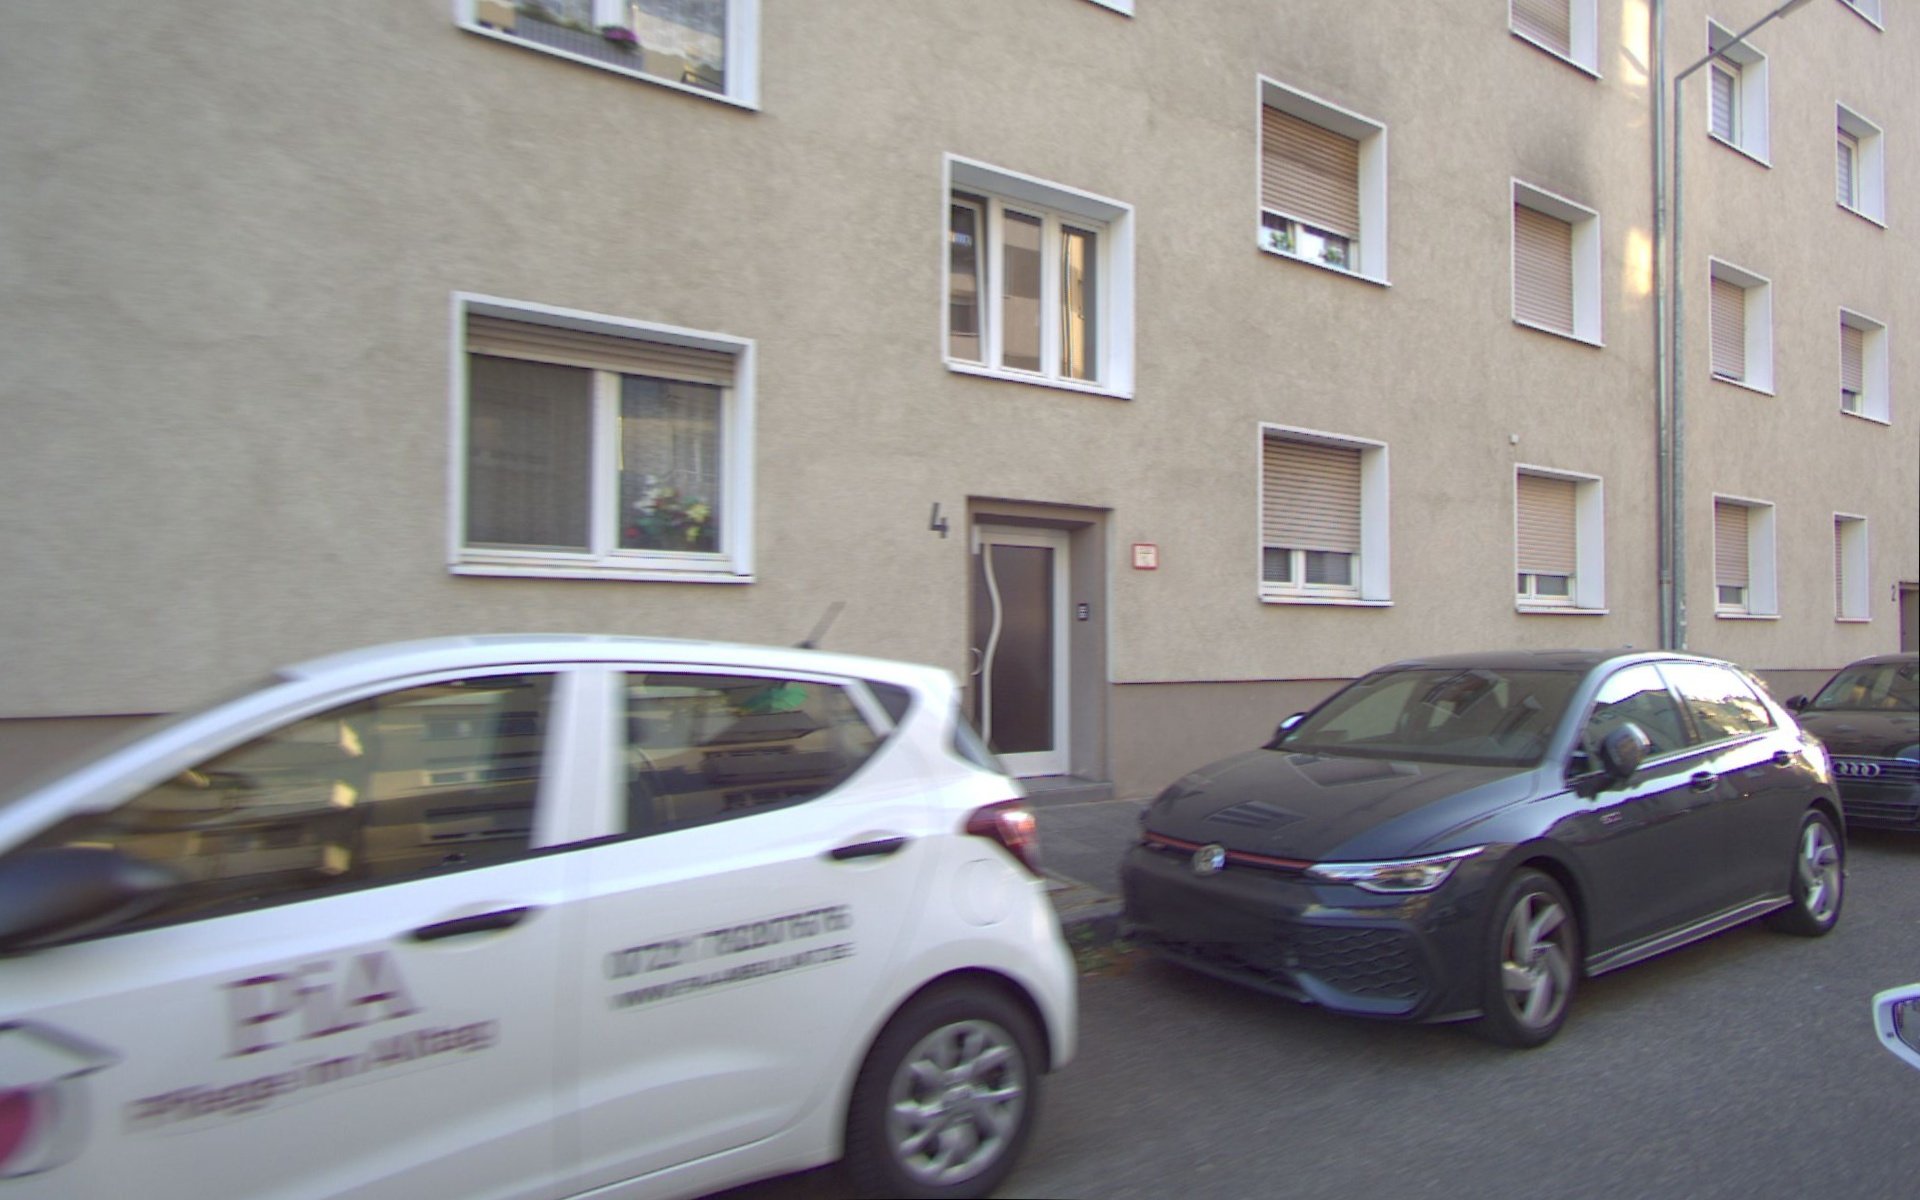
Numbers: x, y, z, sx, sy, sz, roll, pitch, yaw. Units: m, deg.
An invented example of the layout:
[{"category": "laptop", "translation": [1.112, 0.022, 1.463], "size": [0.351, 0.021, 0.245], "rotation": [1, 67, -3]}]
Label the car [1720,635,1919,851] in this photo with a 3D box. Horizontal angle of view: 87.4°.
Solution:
[{"category": "car", "translation": [7.919, 1.032, 8.045], "size": [3.753, 1.453, 1.645], "rotation": [2, -4, -32]}]

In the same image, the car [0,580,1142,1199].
[{"category": "car", "translation": [-1.375, 0.781, 2.645], "size": [3.465, 1.492, 1.608], "rotation": [2, -4, -32]}]

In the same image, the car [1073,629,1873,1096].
[{"category": "car", "translation": [2.641, 0.920, 4.934], "size": [3.986, 1.453, 1.651], "rotation": [2, -4, -32]}]
